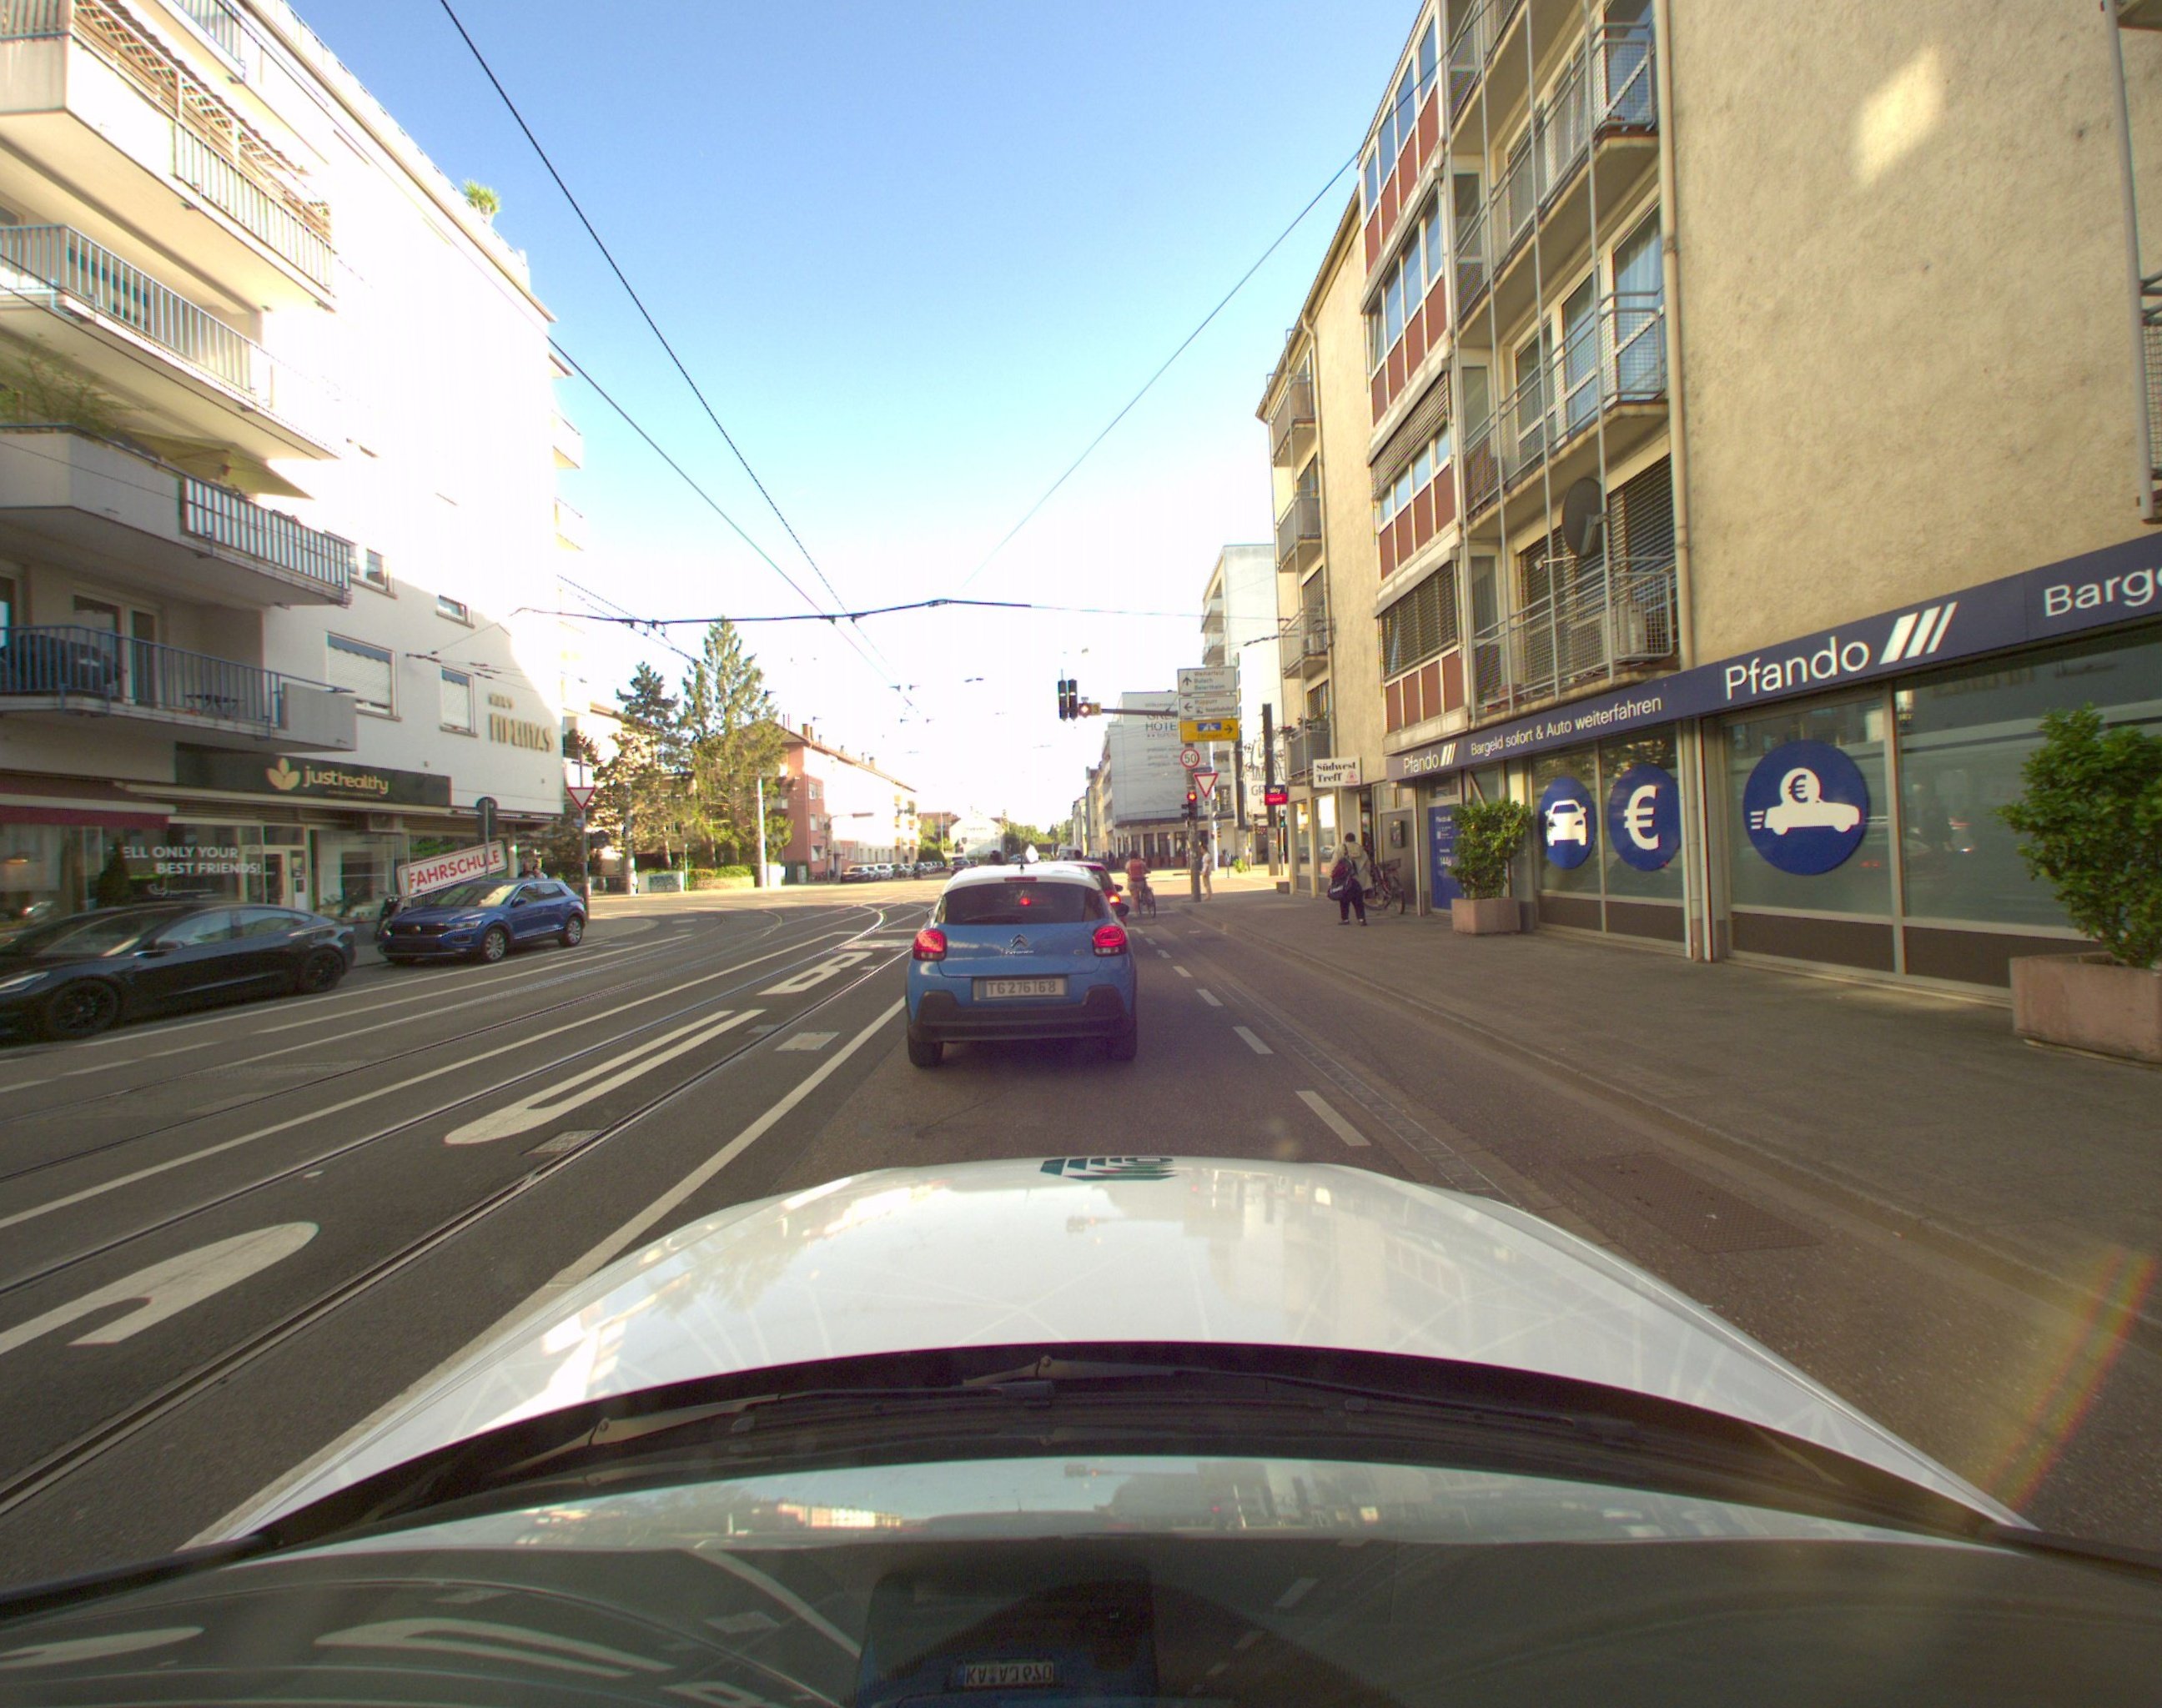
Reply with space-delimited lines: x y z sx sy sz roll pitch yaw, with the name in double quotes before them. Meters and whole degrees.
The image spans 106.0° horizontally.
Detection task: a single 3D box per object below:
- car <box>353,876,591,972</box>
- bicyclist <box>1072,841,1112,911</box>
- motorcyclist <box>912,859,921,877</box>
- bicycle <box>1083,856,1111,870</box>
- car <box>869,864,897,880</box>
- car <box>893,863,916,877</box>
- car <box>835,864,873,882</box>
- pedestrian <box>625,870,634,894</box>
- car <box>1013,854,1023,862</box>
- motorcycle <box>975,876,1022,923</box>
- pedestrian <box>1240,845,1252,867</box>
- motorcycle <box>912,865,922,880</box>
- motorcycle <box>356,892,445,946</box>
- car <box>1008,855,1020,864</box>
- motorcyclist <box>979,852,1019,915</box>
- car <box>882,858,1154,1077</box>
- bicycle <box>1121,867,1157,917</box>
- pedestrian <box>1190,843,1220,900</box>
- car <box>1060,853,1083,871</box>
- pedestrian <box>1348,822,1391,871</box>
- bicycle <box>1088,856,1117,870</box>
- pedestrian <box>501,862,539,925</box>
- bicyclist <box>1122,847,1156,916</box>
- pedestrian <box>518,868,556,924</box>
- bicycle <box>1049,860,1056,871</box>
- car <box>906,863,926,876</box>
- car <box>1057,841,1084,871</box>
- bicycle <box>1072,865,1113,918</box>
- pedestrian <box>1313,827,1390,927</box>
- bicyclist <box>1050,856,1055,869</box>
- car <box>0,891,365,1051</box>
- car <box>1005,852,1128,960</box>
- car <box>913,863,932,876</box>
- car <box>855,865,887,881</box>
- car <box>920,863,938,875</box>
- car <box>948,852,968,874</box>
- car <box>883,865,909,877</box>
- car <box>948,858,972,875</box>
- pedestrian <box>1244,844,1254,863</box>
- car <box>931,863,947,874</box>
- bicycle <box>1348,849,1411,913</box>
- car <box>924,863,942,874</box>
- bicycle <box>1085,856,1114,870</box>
"car" -11.876 1.271 16.313 1.765 1.503 4.233 0 1 -4
"bicyclist" 0.275 0.540 20.211 0.937 1.673 1.079 0 -1 0
"motorcyclist" -13.642 1.145 67.623 0.694 1.497 0.681 -2 -2 -12
"bicycle" 1.357 0.762 68.416 2.246 1.001 0.855 -4 0 -4
"car" -19.418 1.722 80.048 1.737 1.526 4.227 0 -1 -1
"car" -20.066 1.831 92.725 1.865 1.576 3.995 0 -1 -3
"car" -19.371 1.632 69.677 2.149 1.432 4.435 0 -2 -3
"pedestrian" -30.299 1.888 54.676 0.519 1.568 0.568 0 -1 -26
"car" -14.547 0.948 188.443 2.068 1.762 5.034 0 -1 -1
"motorcycle" -1.957 1.065 19.578 0.852 1.047 1.943 0 -1 2
"pedestrian" 12.127 0.177 59.777 0.604 1.608 0.673 -1 -1 45
"motorcycle" -13.595 1.551 67.462 0.712 1.220 1.957 -2 -2 -12
"motorcycle" -15.813 1.482 18.991 0.605 1.134 1.795 0 -1 -2
"car" -14.042 1.223 171.649 2.212 1.932 4.946 0 -1 -1
"motorcyclist" -1.963 0.703 19.586 0.852 1.488 0.729 0 -1 1
"car" -0.280 0.784 7.325 1.727 1.452 3.669 -1 0 6
"bicycle" 1.482 0.925 20.595 0.807 1.181 2.067 0 -1 6
"pedestrian" 3.683 0.519 24.159 0.534 1.623 0.737 -7 -3 23
"car" -0.806 0.696 68.028 1.654 1.431 3.882 0 -1 -4
"pedestrian" 6.785 -0.174 19.147 0.627 1.087 0.672 -3 1 -36
"bicycle" 1.763 0.739 65.928 2.246 1.001 0.855 -4 0 -4
"pedestrian" -17.354 1.208 25.204 0.568 1.900 0.742 -2 -3 16
"bicyclist" 1.457 0.681 20.432 0.807 1.692 0.937 0 -1 6
"pedestrian" -18.022 1.381 26.974 0.732 1.792 0.663 -2 0 5
"bicycle" -4.395 1.794 125.525 0.787 1.670 2.231 0 -1 3
"car" -20.011 1.879 98.788 1.865 1.576 3.995 0 -1 -3
"car" -0.971 0.190 73.023 2.260 2.482 5.002 -1 0 -3
"bicycle" 0.287 0.890 20.130 0.937 1.223 2.094 0 -1 1
"pedestrian" 4.607 0.377 13.915 0.883 1.592 0.809 -5 1 -7
"bicyclist" -4.404 1.299 125.446 0.787 2.024 0.987 0 -1 3
"car" -12.000 1.303 10.423 1.764 1.475 4.443 0 0 -1
"car" -0.297 0.746 13.662 1.780 1.521 3.758 0 0 -3
"car" -20.081 1.916 103.286 1.865 1.576 3.995 0 -1 -3
"car" -19.261 1.732 74.895 1.897 1.436 4.102 0 -1 0
"car" -20.143 1.957 108.276 1.865 1.576 3.995 0 -1 -3
"car" -18.061 1.345 119.622 2.411 3.142 3.487 0 -1 -1
"car" -19.629 1.771 86.728 1.942 1.239 4.279 0 0 -2
"car" -11.378 1.124 76.851 1.775 1.486 3.824 -3 0 -3
"pedestrian" 12.853 -0.008 62.216 0.600 1.444 0.558 -1 -1 29
"car" -20.785 2.054 119.660 1.865 1.576 3.995 0 -1 -3
"bicycle" 5.745 0.499 15.750 0.495 1.161 1.776 -2 -1 -1
"car" -20.588 2.002 113.446 1.865 1.576 3.995 0 -1 -3
"bicycle" 1.533 0.743 67.302 2.246 1.001 0.855 -4 0 -4
